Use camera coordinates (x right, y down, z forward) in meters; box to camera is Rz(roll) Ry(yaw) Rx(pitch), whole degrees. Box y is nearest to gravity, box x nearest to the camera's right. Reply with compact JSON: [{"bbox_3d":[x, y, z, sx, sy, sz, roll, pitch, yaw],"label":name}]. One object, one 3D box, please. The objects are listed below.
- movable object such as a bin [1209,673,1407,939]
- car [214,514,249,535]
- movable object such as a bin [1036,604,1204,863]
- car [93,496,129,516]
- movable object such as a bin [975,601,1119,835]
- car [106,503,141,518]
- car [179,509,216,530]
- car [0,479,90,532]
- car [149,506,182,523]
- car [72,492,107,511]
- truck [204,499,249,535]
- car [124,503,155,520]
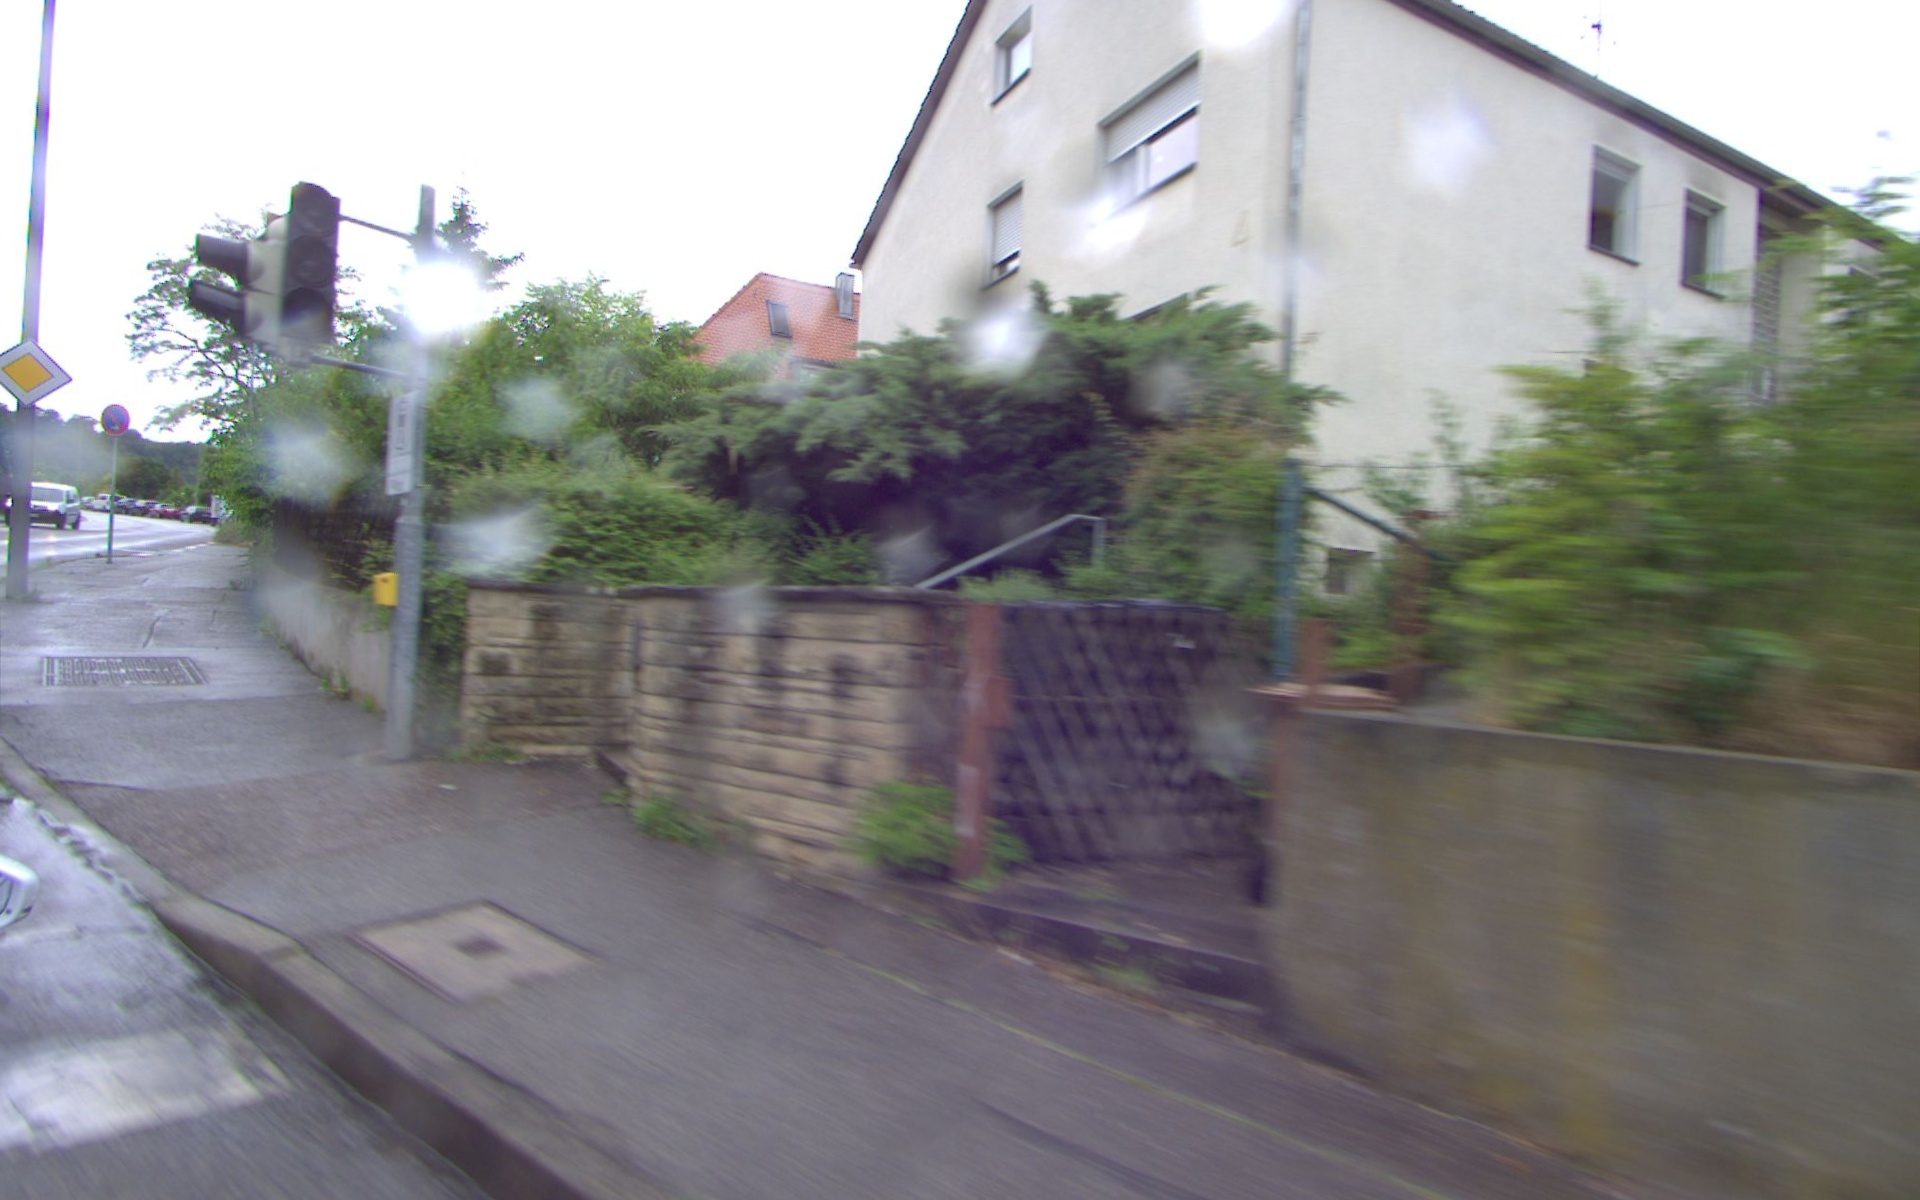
[{"bbox_3d":[1.373,0.802,4.003,0.460,0.946,0.479,7,-2,-22],"label":"movable object such as a bin"},{"bbox_3d":[-56.162,-5.829,77.531,3.947,1.344,1.536,7,1,44],"label":"car"},{"bbox_3d":[0.836,0.668,5.308,0.602,1.260,0.598,3,-1,-30],"label":"movable object such as a bin"},{"bbox_3d":[-89.490,-9.926,106.022,3.935,1.740,1.649,5,-3,33],"label":"car"},{"bbox_3d":[0.498,0.655,5.805,0.602,1.260,0.512,3,-1,-30],"label":"movable object such as a bin"},{"bbox_3d":[-85.338,-9.118,102.617,3.935,1.115,1.646,6,1,33],"label":"car"},{"bbox_3d":[-67.344,-7.118,88.791,3.334,1.482,1.687,7,0,37],"label":"car"},{"bbox_3d":[-37.256,-3.818,41.043,1.827,1.777,4.383,7,0,-32],"label":"car"},{"bbox_3d":[-76.501,-8.225,96.839,3.807,1.341,1.541,5,-3,37],"label":"car"},{"bbox_3d":[-94.565,-10.685,109.280,3.935,1.740,1.649,5,-3,33],"label":"car"},{"bbox_3d":[-60.130,-6.820,82.426,4.769,2.606,1.989,7,1,44],"label":"truck"},{"bbox_3d":[-81.067,-8.719,99.349,3.944,1.341,1.540,4,-5,40],"label":"car"}]
